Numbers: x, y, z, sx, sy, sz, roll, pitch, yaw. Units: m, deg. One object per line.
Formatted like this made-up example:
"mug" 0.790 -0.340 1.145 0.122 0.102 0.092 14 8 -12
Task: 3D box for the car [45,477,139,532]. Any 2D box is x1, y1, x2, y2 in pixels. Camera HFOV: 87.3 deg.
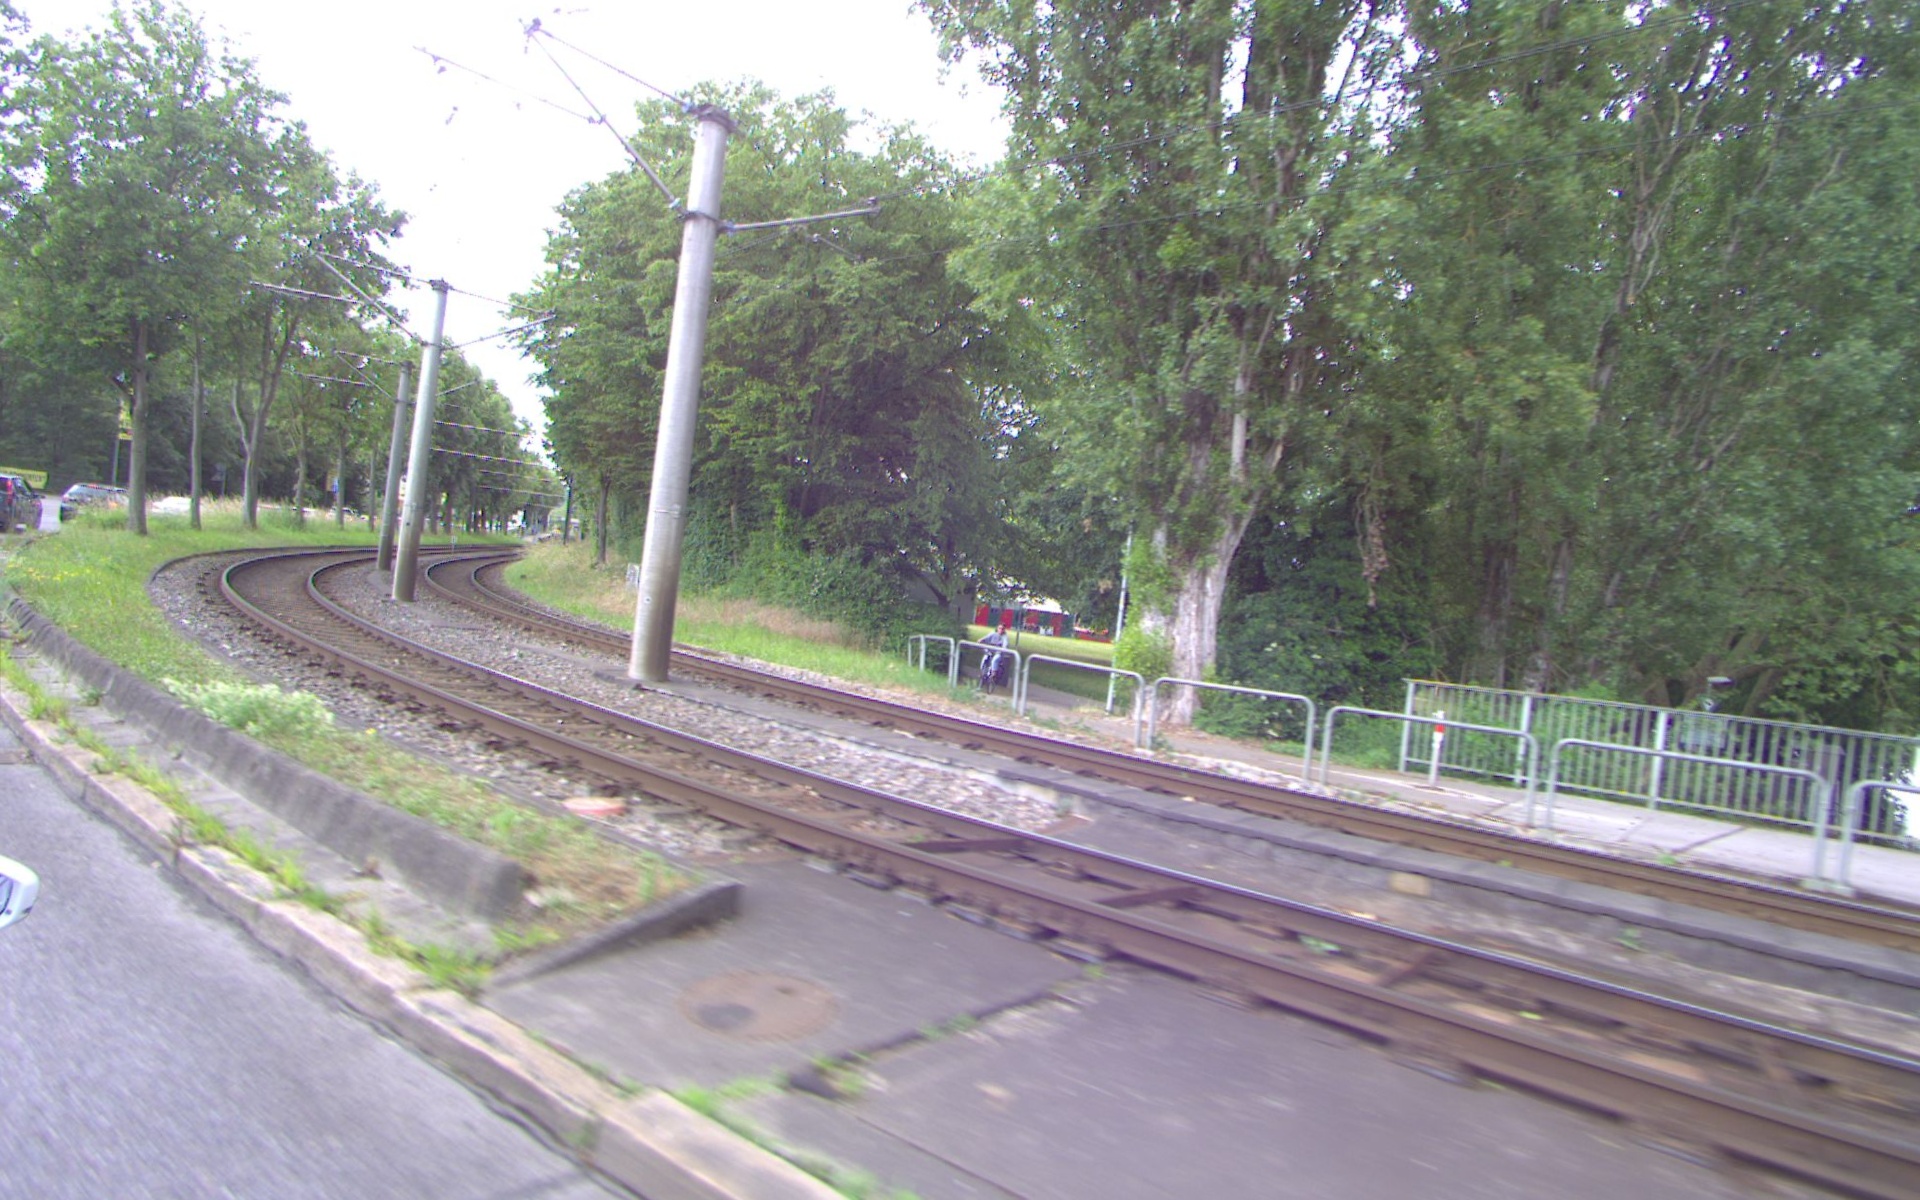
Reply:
"car" -29.948 -3.255 34.840 1.565 1.557 3.970 7 0 -29

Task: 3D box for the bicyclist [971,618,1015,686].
"bicyclist" 0.740 1.136 22.055 0.584 1.376 0.911 8 0 15

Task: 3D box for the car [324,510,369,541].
"car" -44.679 -5.390 73.375 1.908 1.883 3.980 7 0 -21

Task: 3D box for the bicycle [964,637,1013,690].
"bicycle" 0.646 1.387 22.069 0.419 1.062 2.082 8 -1 16

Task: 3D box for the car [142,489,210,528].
"car" -34.843 -4.038 44.806 1.486 1.381 3.565 7 0 -25

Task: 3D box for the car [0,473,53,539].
"car" -25.549 -2.561 26.419 1.882 1.592 3.963 8 -1 -34
